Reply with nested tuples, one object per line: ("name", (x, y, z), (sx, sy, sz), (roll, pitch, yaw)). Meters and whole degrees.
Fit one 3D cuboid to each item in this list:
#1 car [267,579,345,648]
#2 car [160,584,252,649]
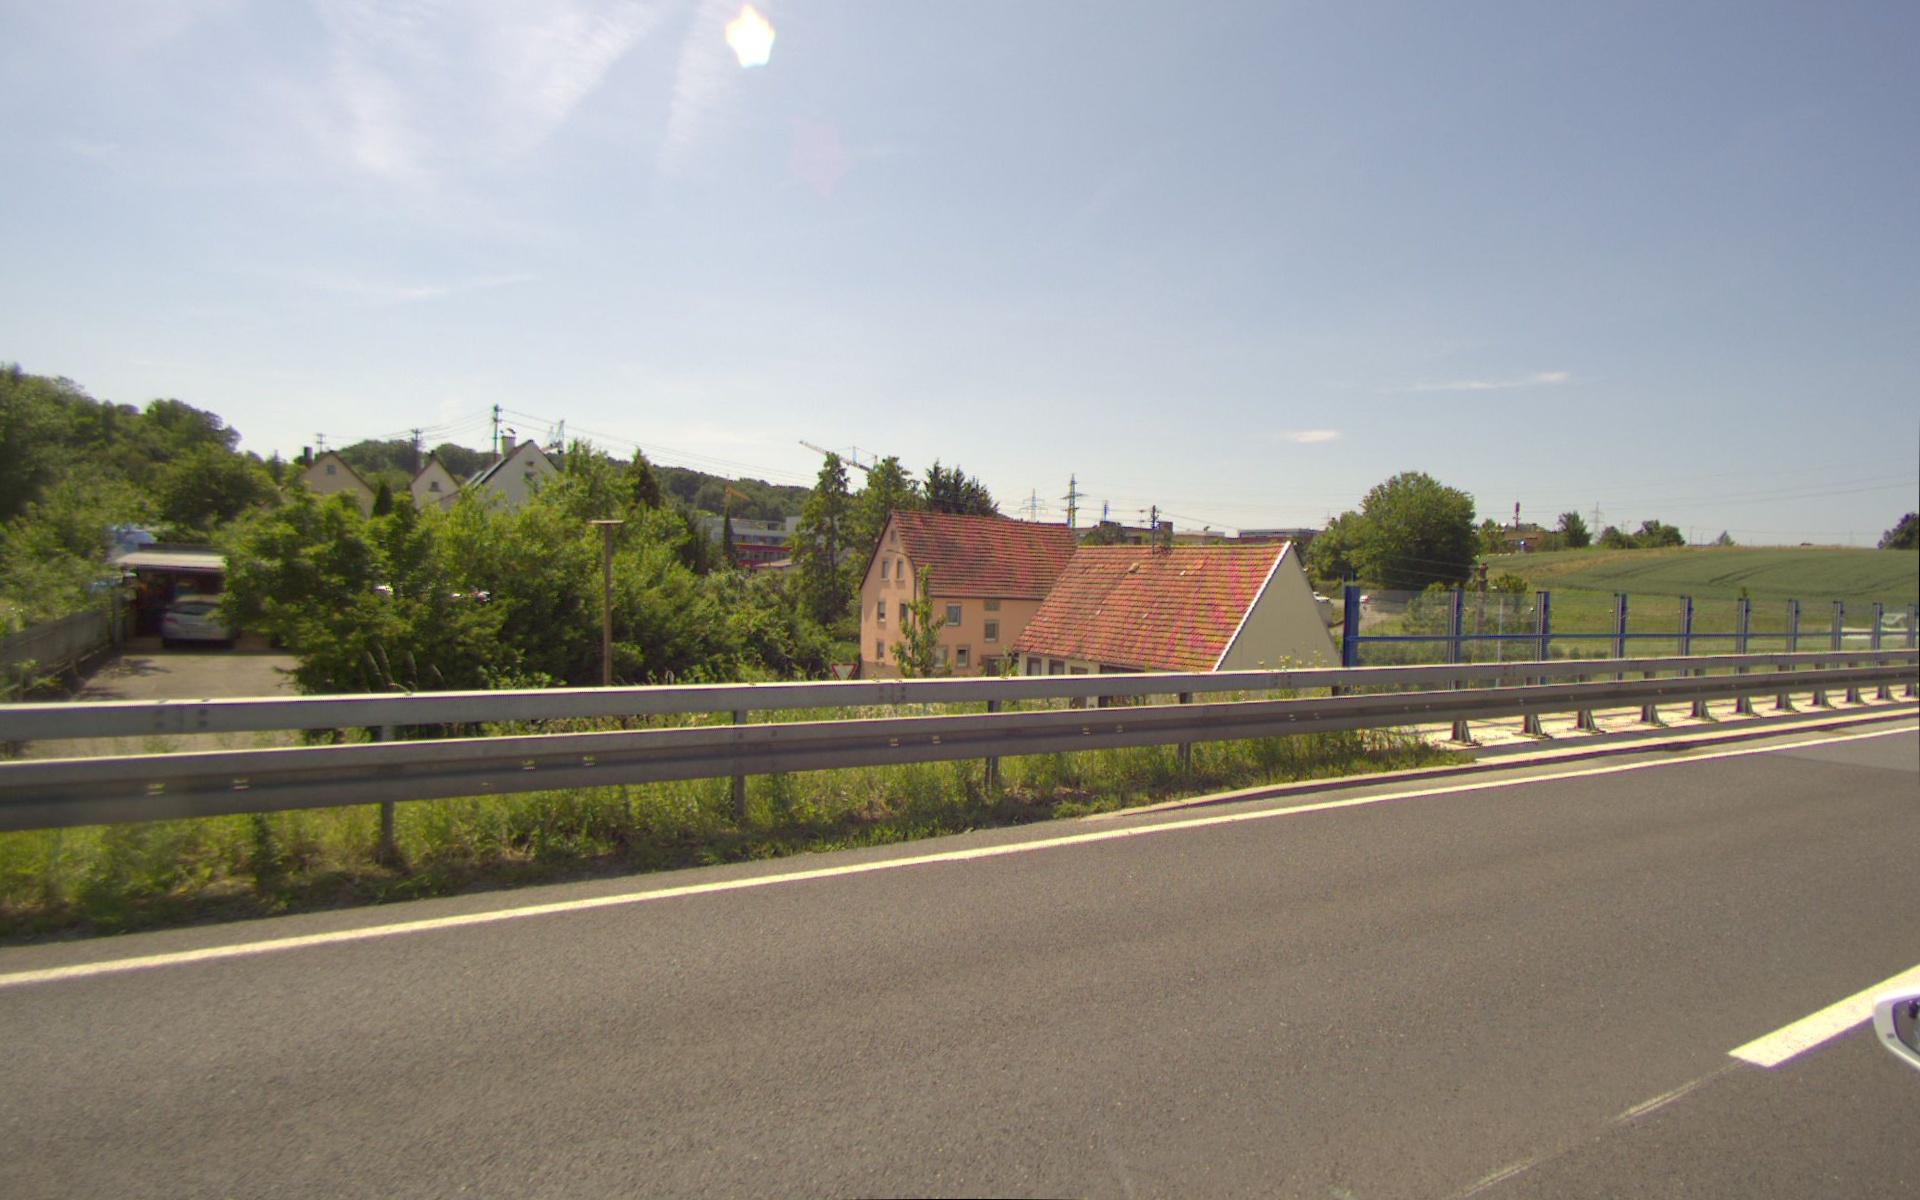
("car", (-20.727, 0.387, 31.962), (1.842, 1.781, 3.966), (2, 4, -31))
("car", (-22.798, 0.463, 30.483), (1.762, 1.535, 3.966), (2, 4, -31))
